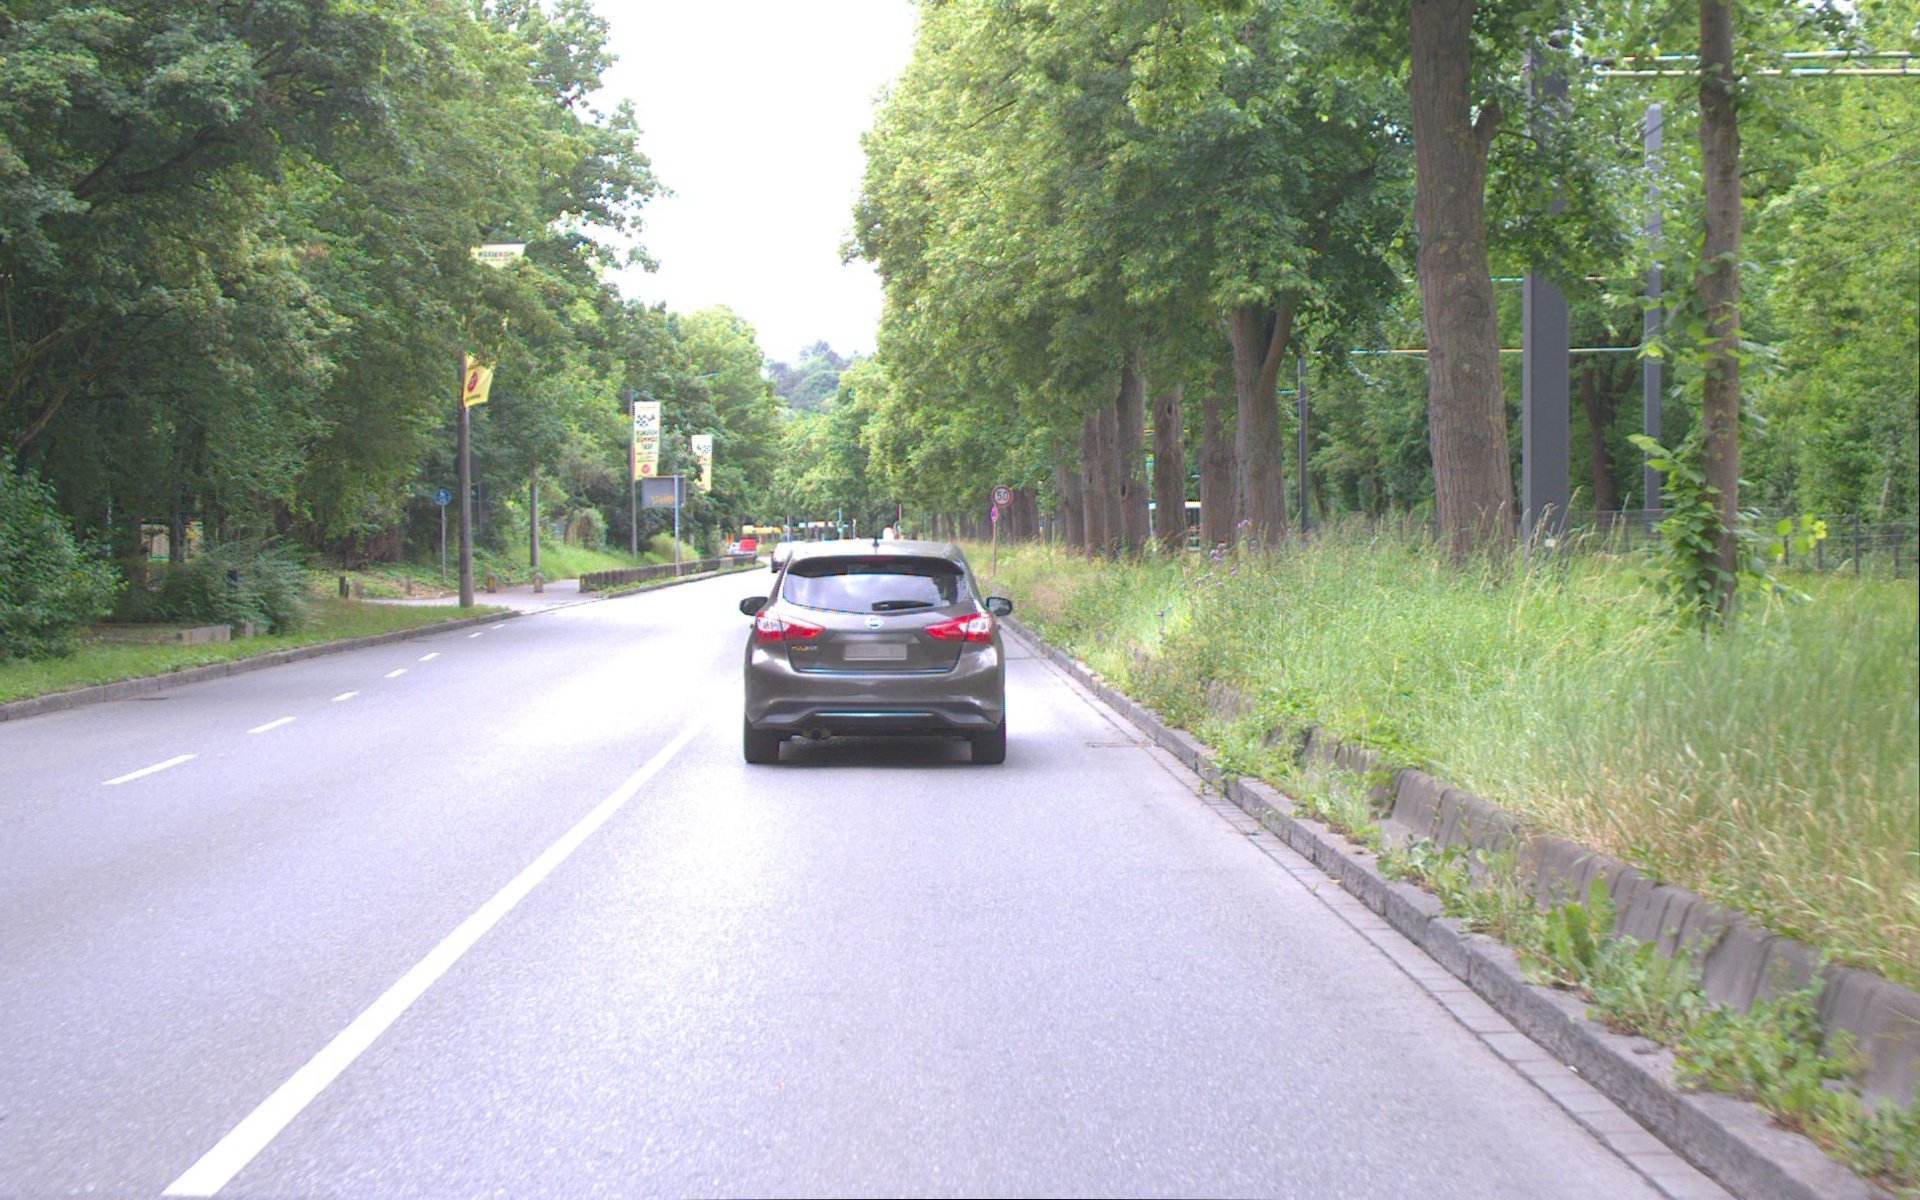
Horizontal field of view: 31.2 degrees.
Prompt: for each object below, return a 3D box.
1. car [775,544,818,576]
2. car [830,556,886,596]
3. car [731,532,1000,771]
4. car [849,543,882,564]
[{"bbox_3d":[-7.718,-1.887,162.826,1.716,1.423,4.197,-2,1,1],"label":"car"},{"bbox_3d":[-3.759,-0.899,127.085,1.562,1.436,3.551,1,1,6],"label":"car"},{"bbox_3d":[-0.666,0.315,24.139,1.730,1.532,3.552,1,1,-2],"label":"car"},{"bbox_3d":[-6.569,-3.218,237.729,1.561,1.436,3.553,1,1,-14],"label":"car"}]
